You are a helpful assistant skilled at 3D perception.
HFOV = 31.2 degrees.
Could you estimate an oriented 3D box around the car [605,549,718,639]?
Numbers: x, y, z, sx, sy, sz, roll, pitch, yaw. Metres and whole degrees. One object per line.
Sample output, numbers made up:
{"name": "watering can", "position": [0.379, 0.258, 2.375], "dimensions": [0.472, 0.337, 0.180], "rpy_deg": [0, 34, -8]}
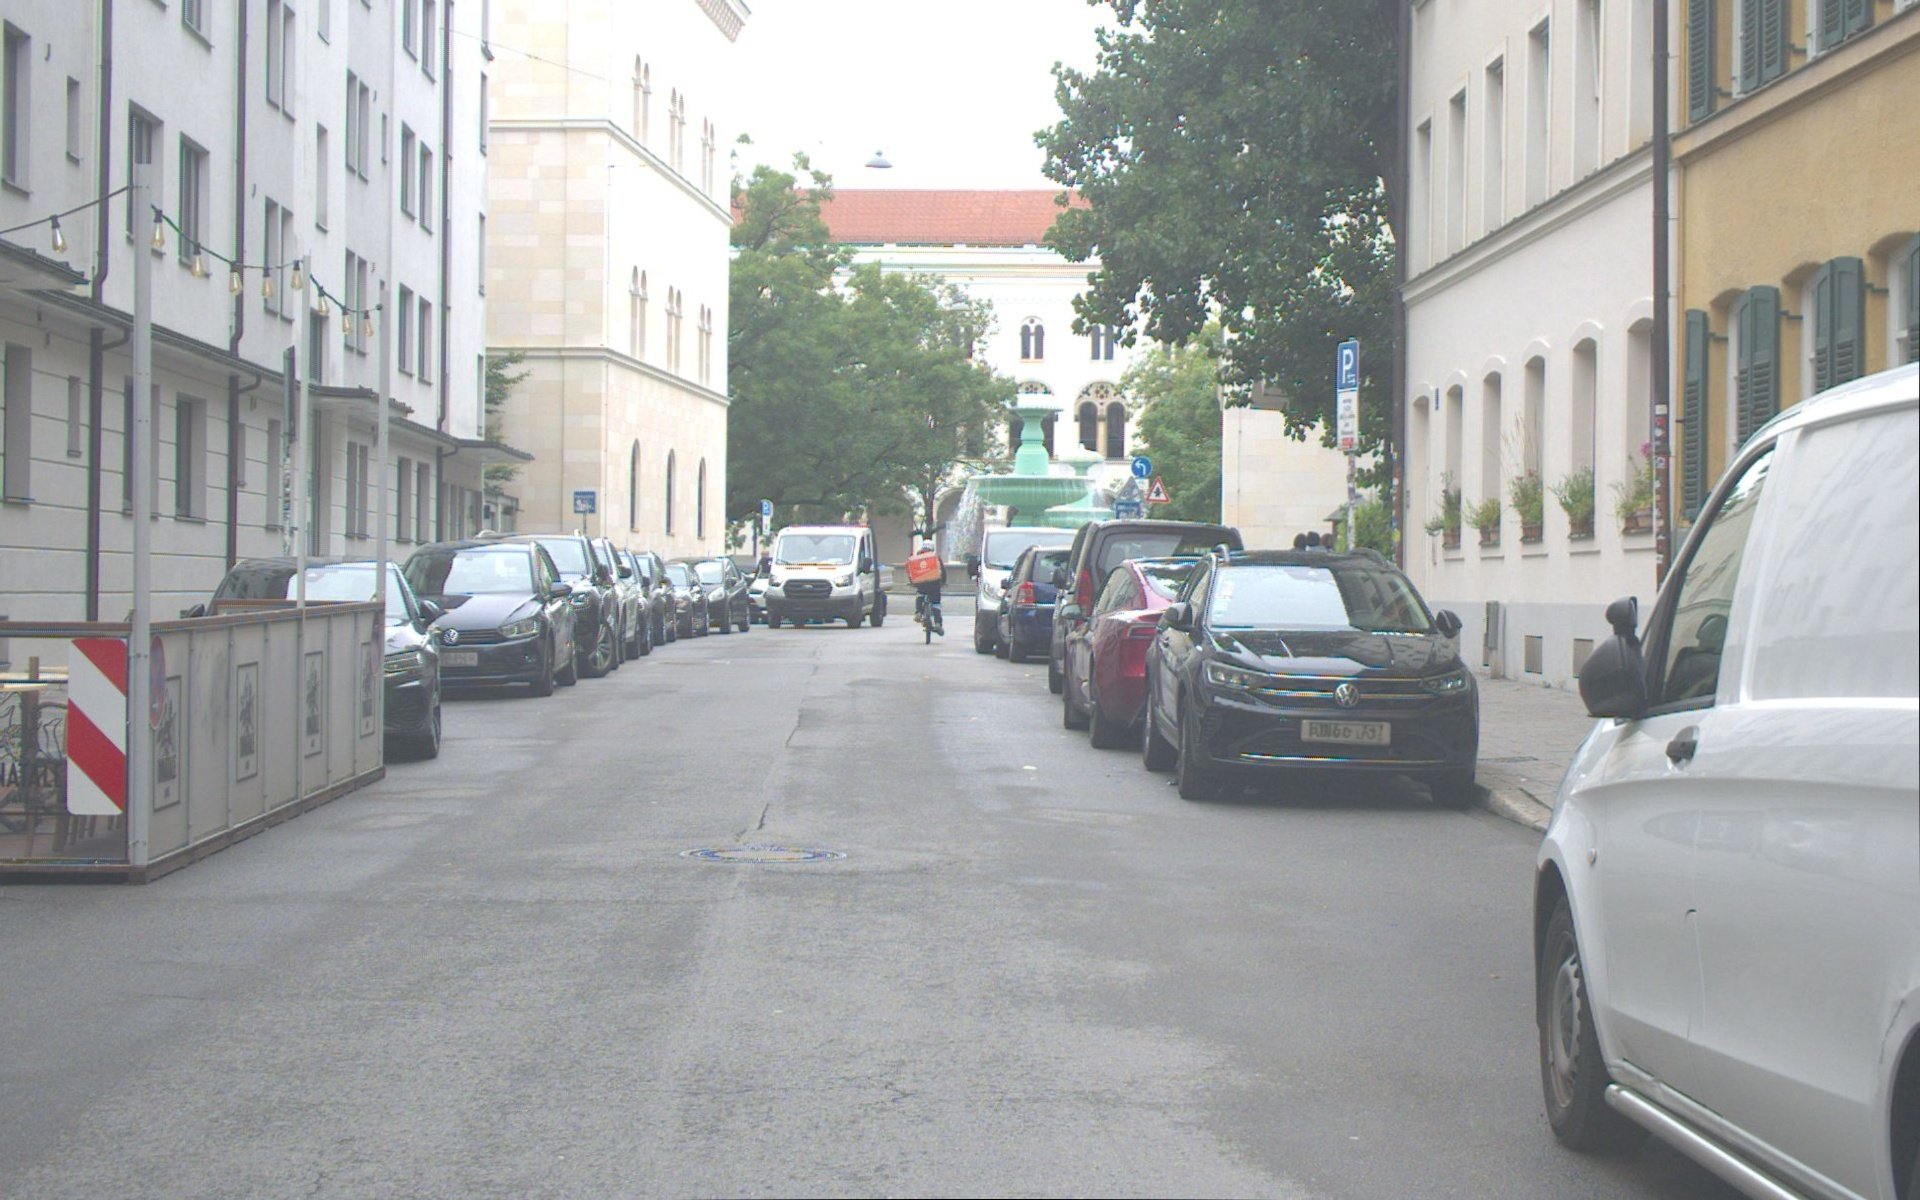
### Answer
{"name": "car", "position": [-5.474, -0.123, 63.391], "dimensions": [1.706, 1.604, 3.863], "rpy_deg": [0, 1, 1]}

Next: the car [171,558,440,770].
{"name": "car", "position": [-4.693, 0.400, 25.099], "dimensions": [1.761, 1.406, 4.157], "rpy_deg": [0, 1, -9]}

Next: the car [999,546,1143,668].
{"name": "car", "position": [1.509, 0.076, 48.023], "dimensions": [1.811, 1.609, 4.156], "rpy_deg": [1, 0, -1]}

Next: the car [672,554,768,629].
{"name": "car", "position": [-5.174, -0.194, 74.466], "dimensions": [1.706, 1.576, 3.863], "rpy_deg": [0, 1, 1]}

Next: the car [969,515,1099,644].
{"name": "car", "position": [1.116, -0.325, 53.925], "dimensions": [1.851, 1.913, 4.769], "rpy_deg": [1, 0, -1]}

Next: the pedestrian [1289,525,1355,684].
{"name": "pedestrian", "position": [4.600, 0.061, 43.744], "dimensions": [0.669, 1.974, 0.708], "rpy_deg": [-2, 0, -1]}

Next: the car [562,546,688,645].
{"name": "car", "position": [-5.598, -0.090, 57.831], "dimensions": [1.706, 1.604, 3.863], "rpy_deg": [0, 1, 0]}

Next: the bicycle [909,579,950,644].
{"name": "bicycle", "position": [-0.522, 0.199, 58.695], "dimensions": [0.675, 1.091, 1.760], "rpy_deg": [0, 0, 0]}

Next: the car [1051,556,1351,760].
{"name": "car", "position": [1.796, 0.398, 26.974], "dimensions": [1.811, 1.420, 4.247], "rpy_deg": [2, 0, -3]}

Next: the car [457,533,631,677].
{"name": "car", "position": [-4.852, 0.036, 40.530], "dimensions": [1.706, 1.604, 3.863], "rpy_deg": [0, 1, -2]}

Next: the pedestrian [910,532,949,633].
{"name": "pedestrian", "position": [-0.515, -0.298, 58.636], "dimensions": [0.642, 1.708, 0.843], "rpy_deg": [0, -1, 0]}

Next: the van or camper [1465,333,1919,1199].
{"name": "van or camper", "position": [2.397, 0.501, 7.134], "dimensions": [1.833, 1.865, 5.079], "rpy_deg": [1, 1, -1]}

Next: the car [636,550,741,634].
{"name": "car", "position": [-5.351, -0.173, 68.209], "dimensions": [1.706, 1.604, 3.863], "rpy_deg": [0, 1, 1]}

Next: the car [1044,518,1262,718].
{"name": "car", "position": [1.846, 0.148, 34.048], "dimensions": [1.811, 1.791, 4.247], "rpy_deg": [2, 0, -1]}

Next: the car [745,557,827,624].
{"name": "car", "position": [-4.178, -0.253, 83.065], "dimensions": [1.706, 1.576, 3.863], "rpy_deg": [0, 1, 1]}

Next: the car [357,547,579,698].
{"name": "car", "position": [-4.916, 0.191, 34.790], "dimensions": [1.817, 1.439, 3.819], "rpy_deg": [0, 1, -2]}

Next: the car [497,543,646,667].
{"name": "car", "position": [-5.235, 0.042, 46.671], "dimensions": [1.706, 1.604, 3.863], "rpy_deg": [0, 1, -2]}

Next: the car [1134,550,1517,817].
{"name": "car", "position": [2.182, 0.454, 21.624], "dimensions": [1.811, 1.459, 4.247], "rpy_deg": [2, 0, -1]}

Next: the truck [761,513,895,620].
{"name": "truck", "position": [-2.833, -0.698, 75.351], "dimensions": [2.121, 2.240, 6.184], "rpy_deg": [0, 0, 5]}
